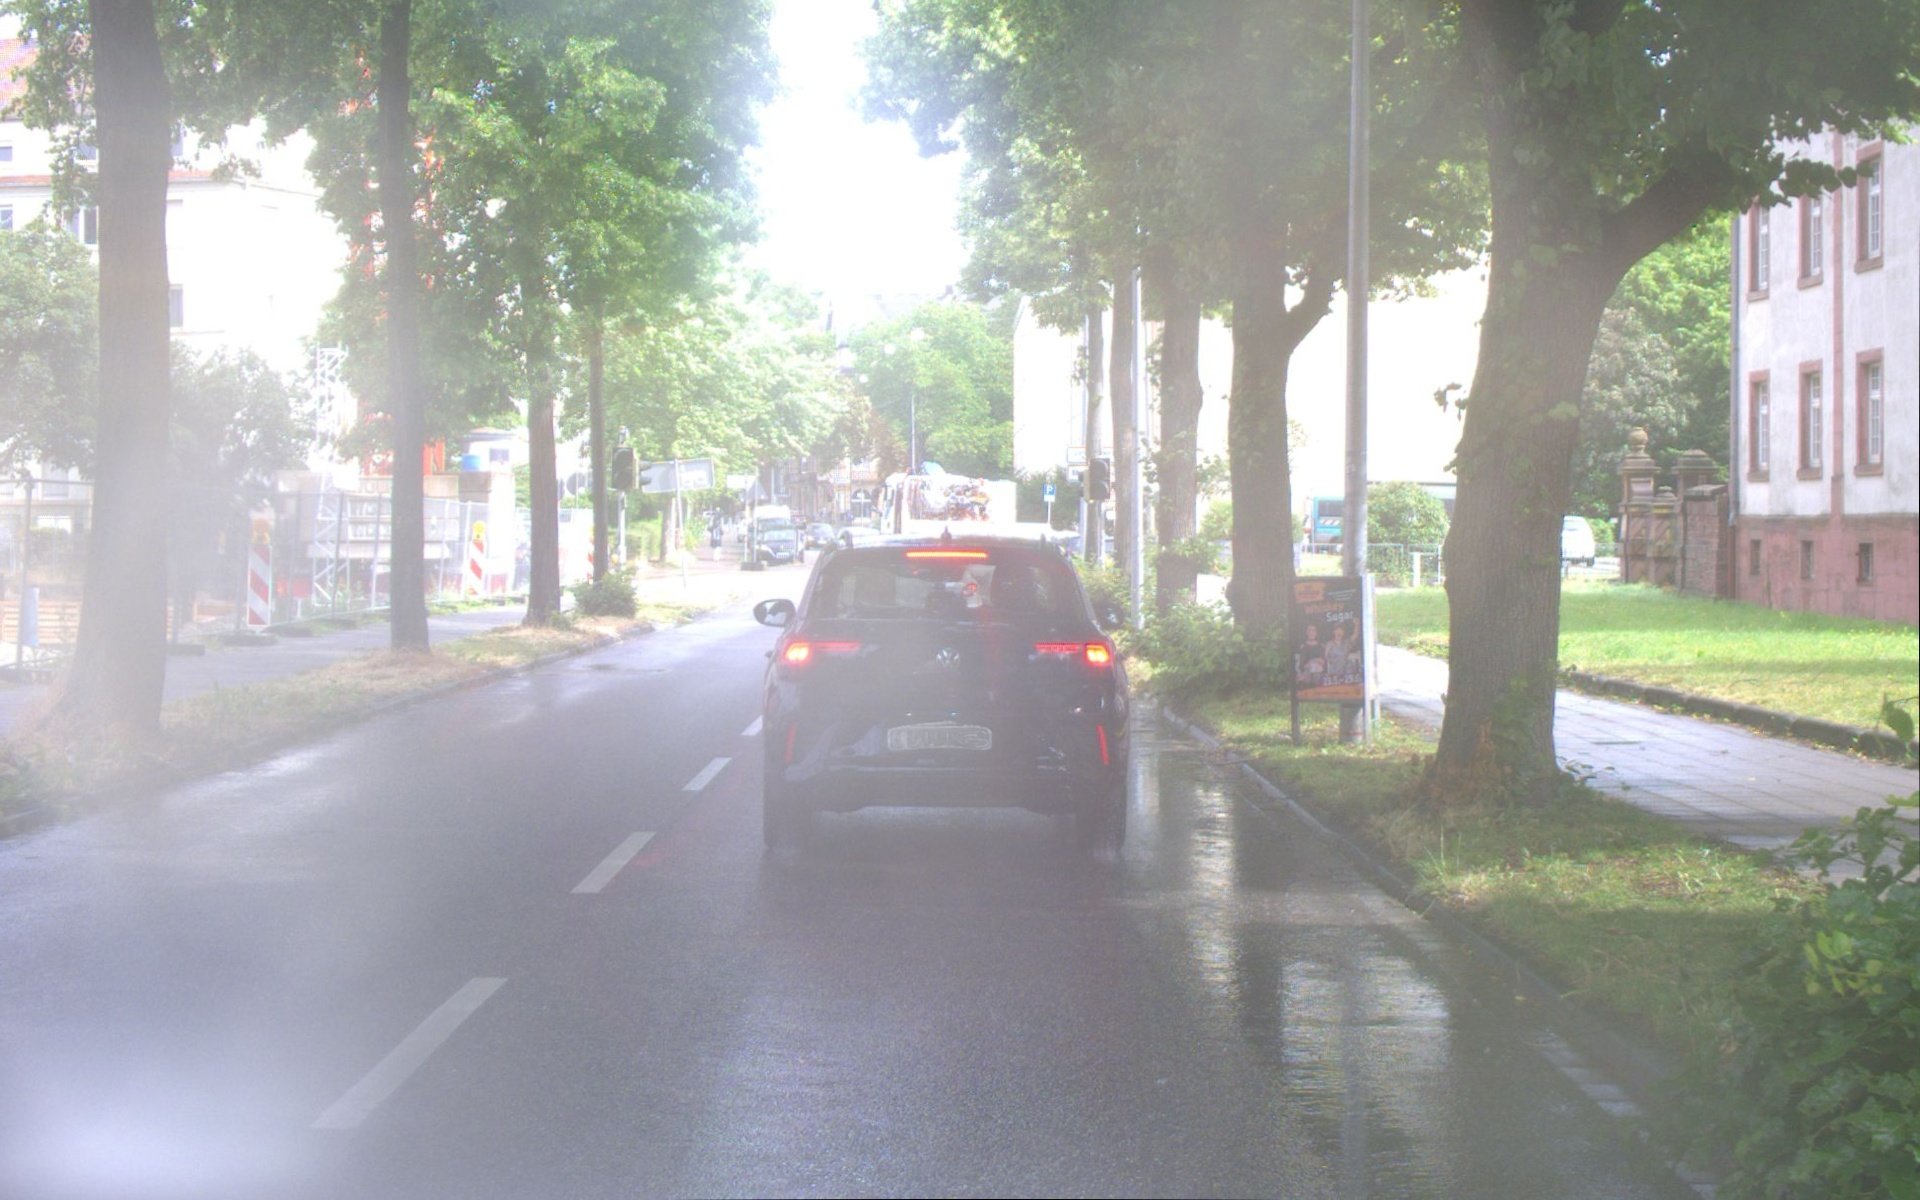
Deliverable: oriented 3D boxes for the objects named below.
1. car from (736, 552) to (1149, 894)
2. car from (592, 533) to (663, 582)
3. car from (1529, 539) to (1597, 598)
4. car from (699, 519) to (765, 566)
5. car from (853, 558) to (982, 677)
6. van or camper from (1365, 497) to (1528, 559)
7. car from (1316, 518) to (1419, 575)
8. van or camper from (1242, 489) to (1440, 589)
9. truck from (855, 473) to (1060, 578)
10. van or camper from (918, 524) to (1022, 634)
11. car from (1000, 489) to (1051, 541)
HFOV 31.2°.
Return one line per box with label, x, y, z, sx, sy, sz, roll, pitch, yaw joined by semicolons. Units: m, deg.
car;-0.097;0.539;17.824;1.894;1.517;4.000;0;1;0
car;-11.245;-1.453;116.376;1.591;1.507;3.731;-3;1;6
car;18.523;-0.988;105.698;1.743;1.678;3.869;-3;1;6
car;-7.849;-1.994;118.527;1.591;1.507;3.731;-3;1;6
car;-0.629;0.239;53.456;1.680;1.702;3.909;-3;1;3
van or camper;15.477;-2.308;109.552;4.875;1.919;2.131;0;2;1
car;14.173;-1.860;119.447;3.408;1.775;1.759;-3;1;9
van or camper;10.206;-1.649;92.334;5.032;2.587;2.168;-1;1;-1
truck;-0.170;-2.051;91.723;2.804;2.647;8.244;0;2;-20
van or camper;0.212;-0.425;63.951;1.819;1.941;4.195;1;2;2
car;2.604;-3.404;138.063;1.993;2.007;4.000;-1;1;1
